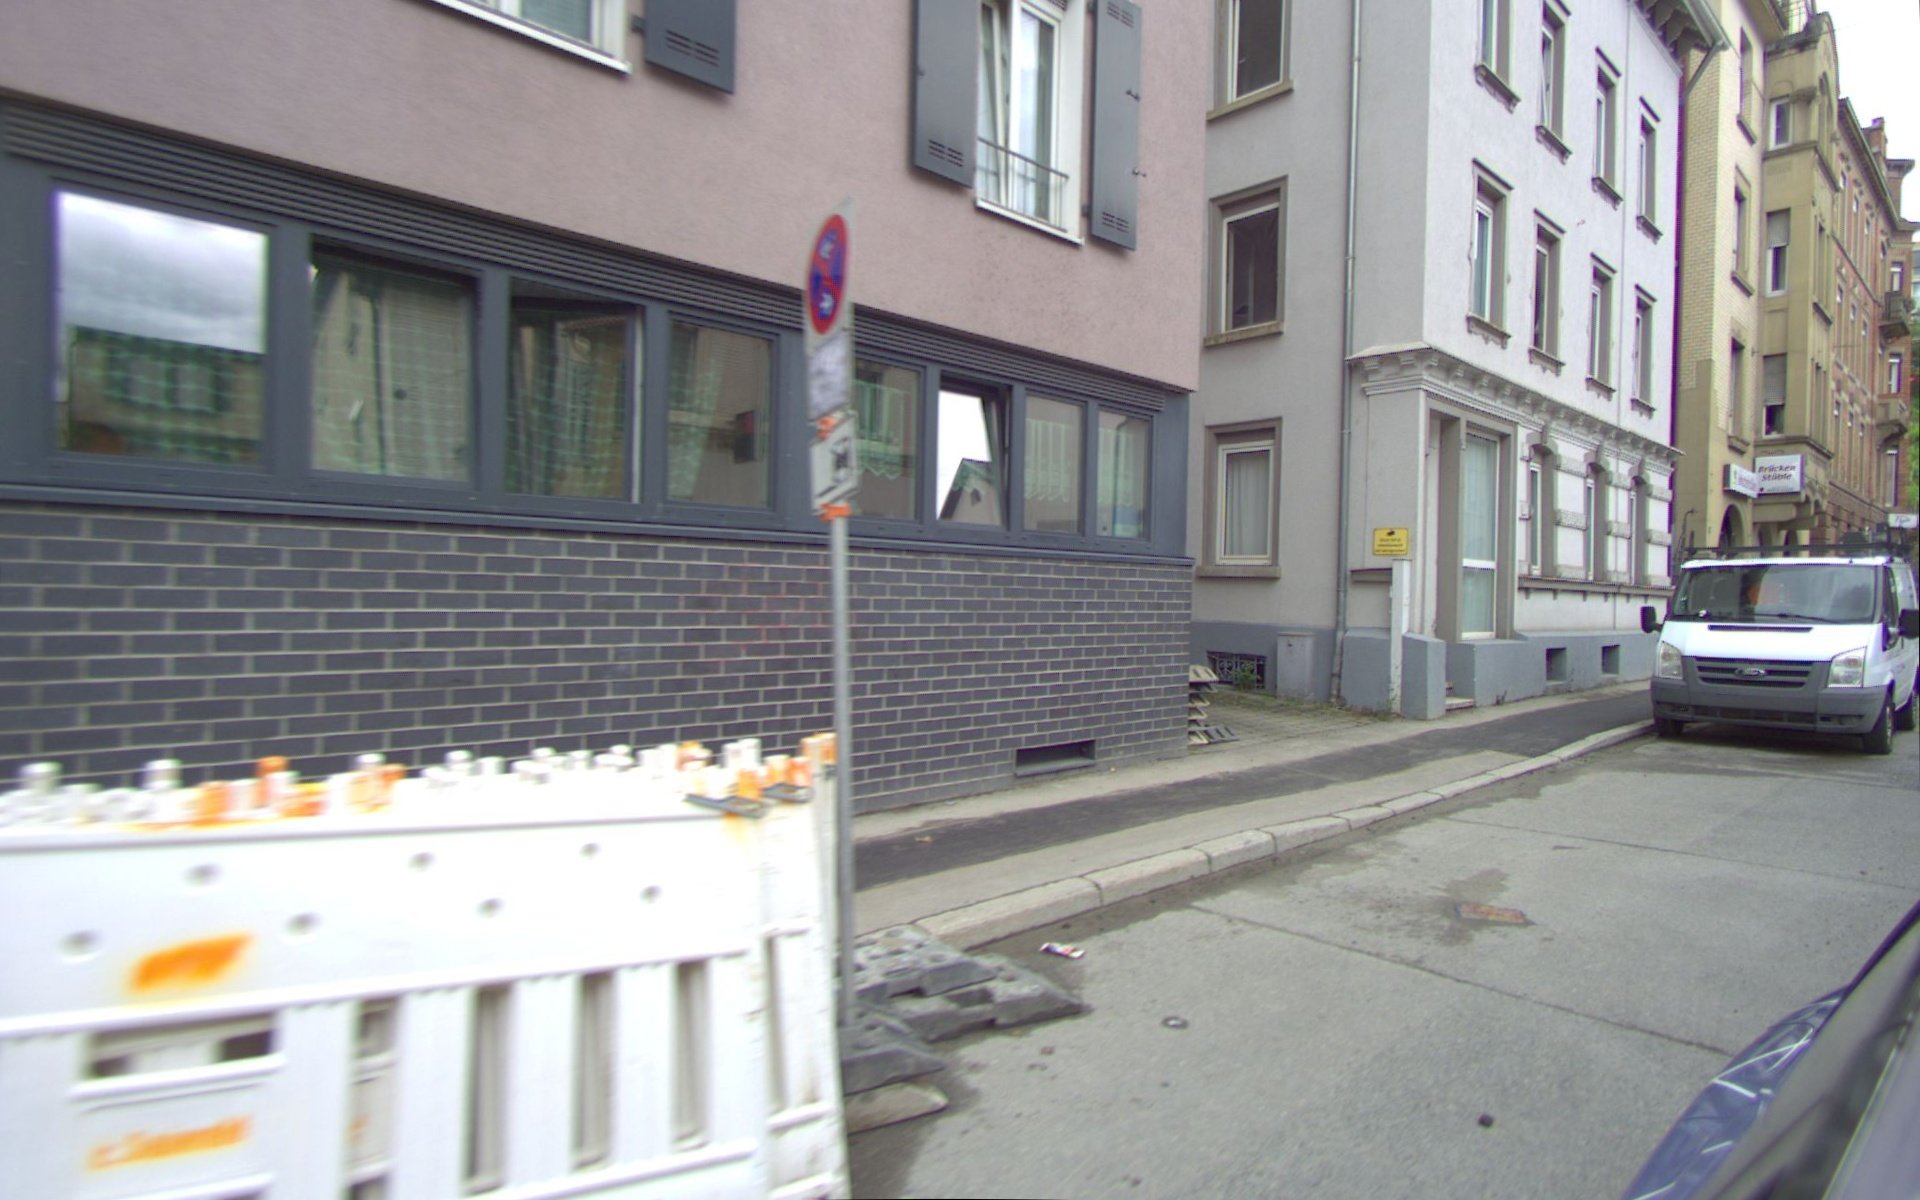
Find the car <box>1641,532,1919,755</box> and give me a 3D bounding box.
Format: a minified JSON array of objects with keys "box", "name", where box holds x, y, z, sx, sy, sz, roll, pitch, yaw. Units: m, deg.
[{"box":[9.557,0.348,11.482,4.796,2.006,1.996,-1,1,-43],"name":"car"}]
